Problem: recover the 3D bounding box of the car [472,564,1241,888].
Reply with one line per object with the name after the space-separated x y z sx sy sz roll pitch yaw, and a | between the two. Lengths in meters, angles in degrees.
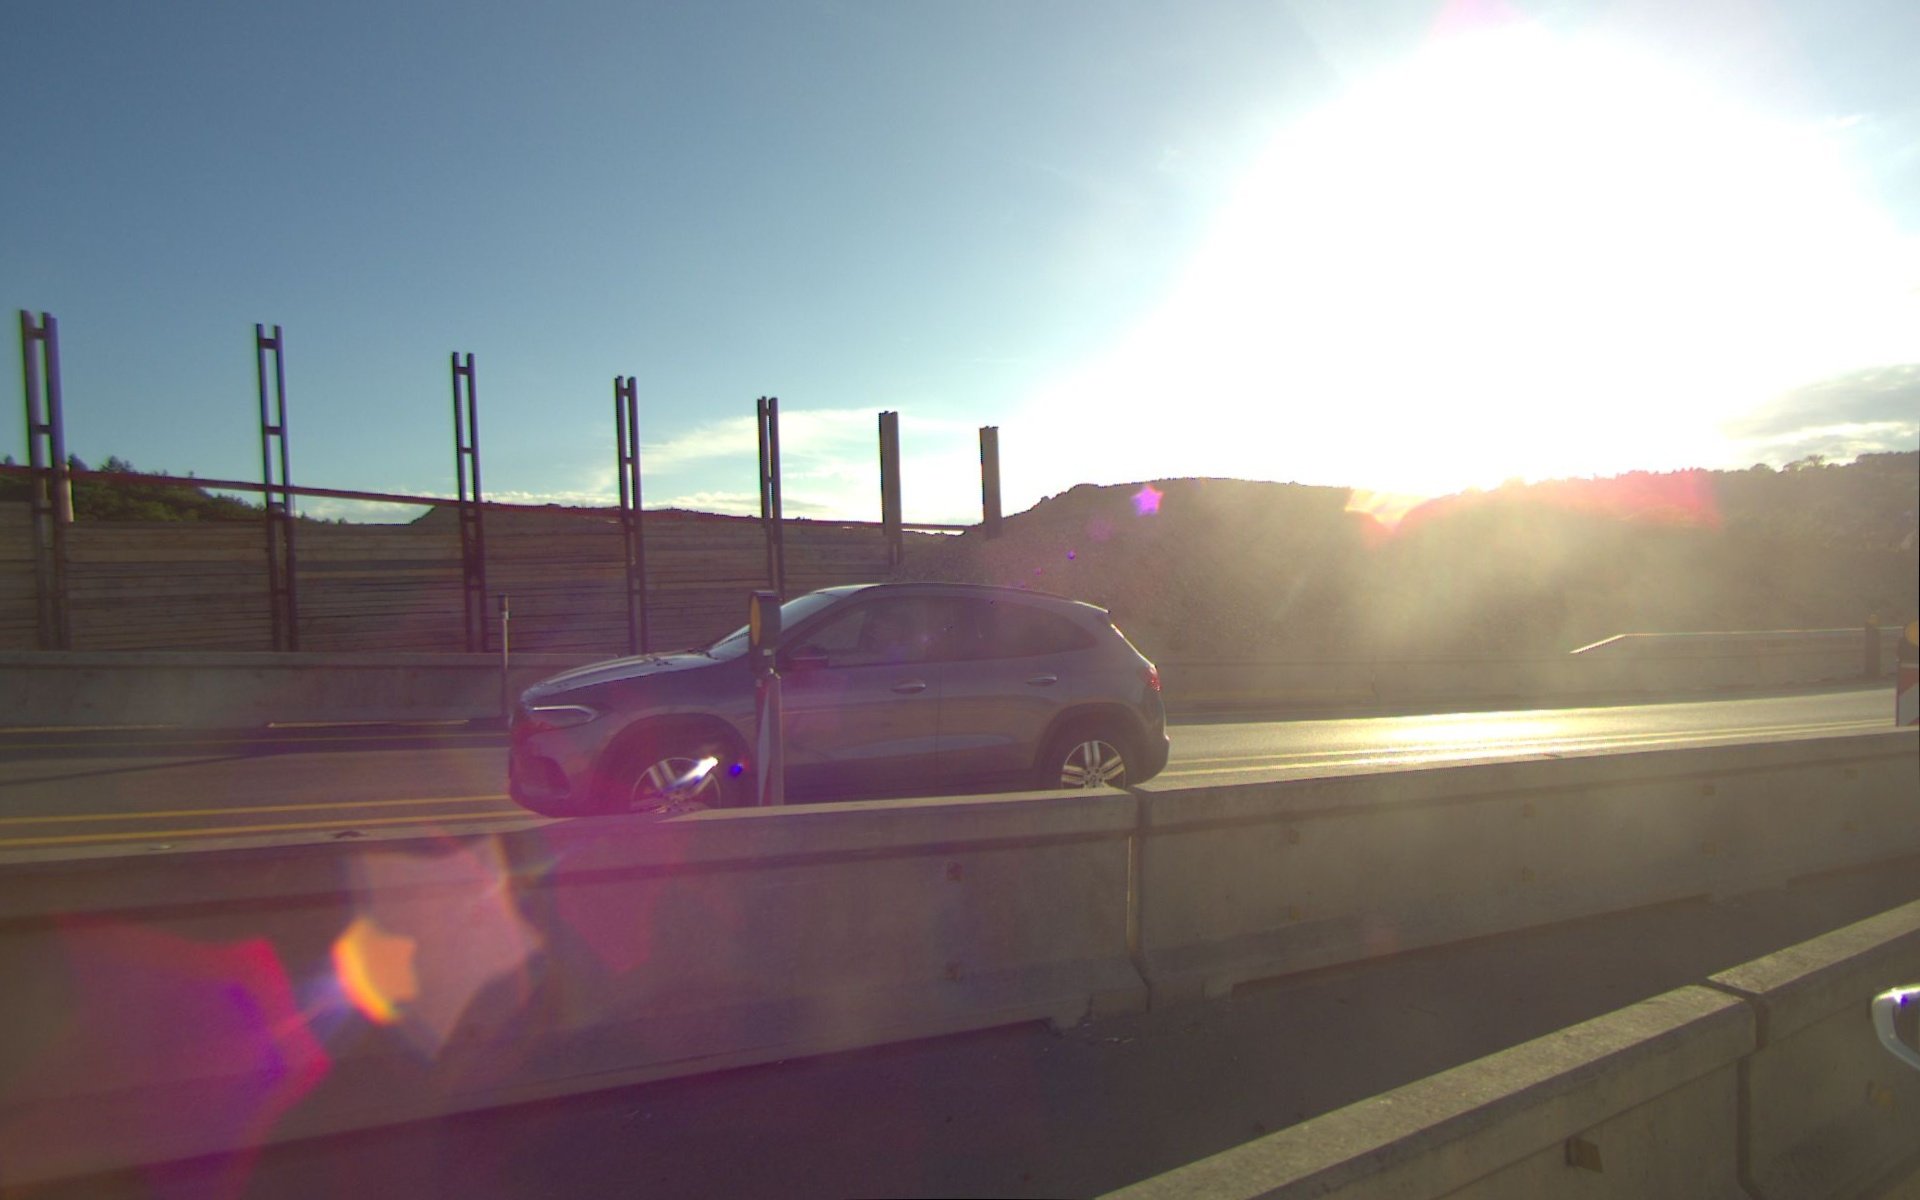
-0.602 0.670 6.865 4.805 1.641 1.784 1 1 -24 | car
